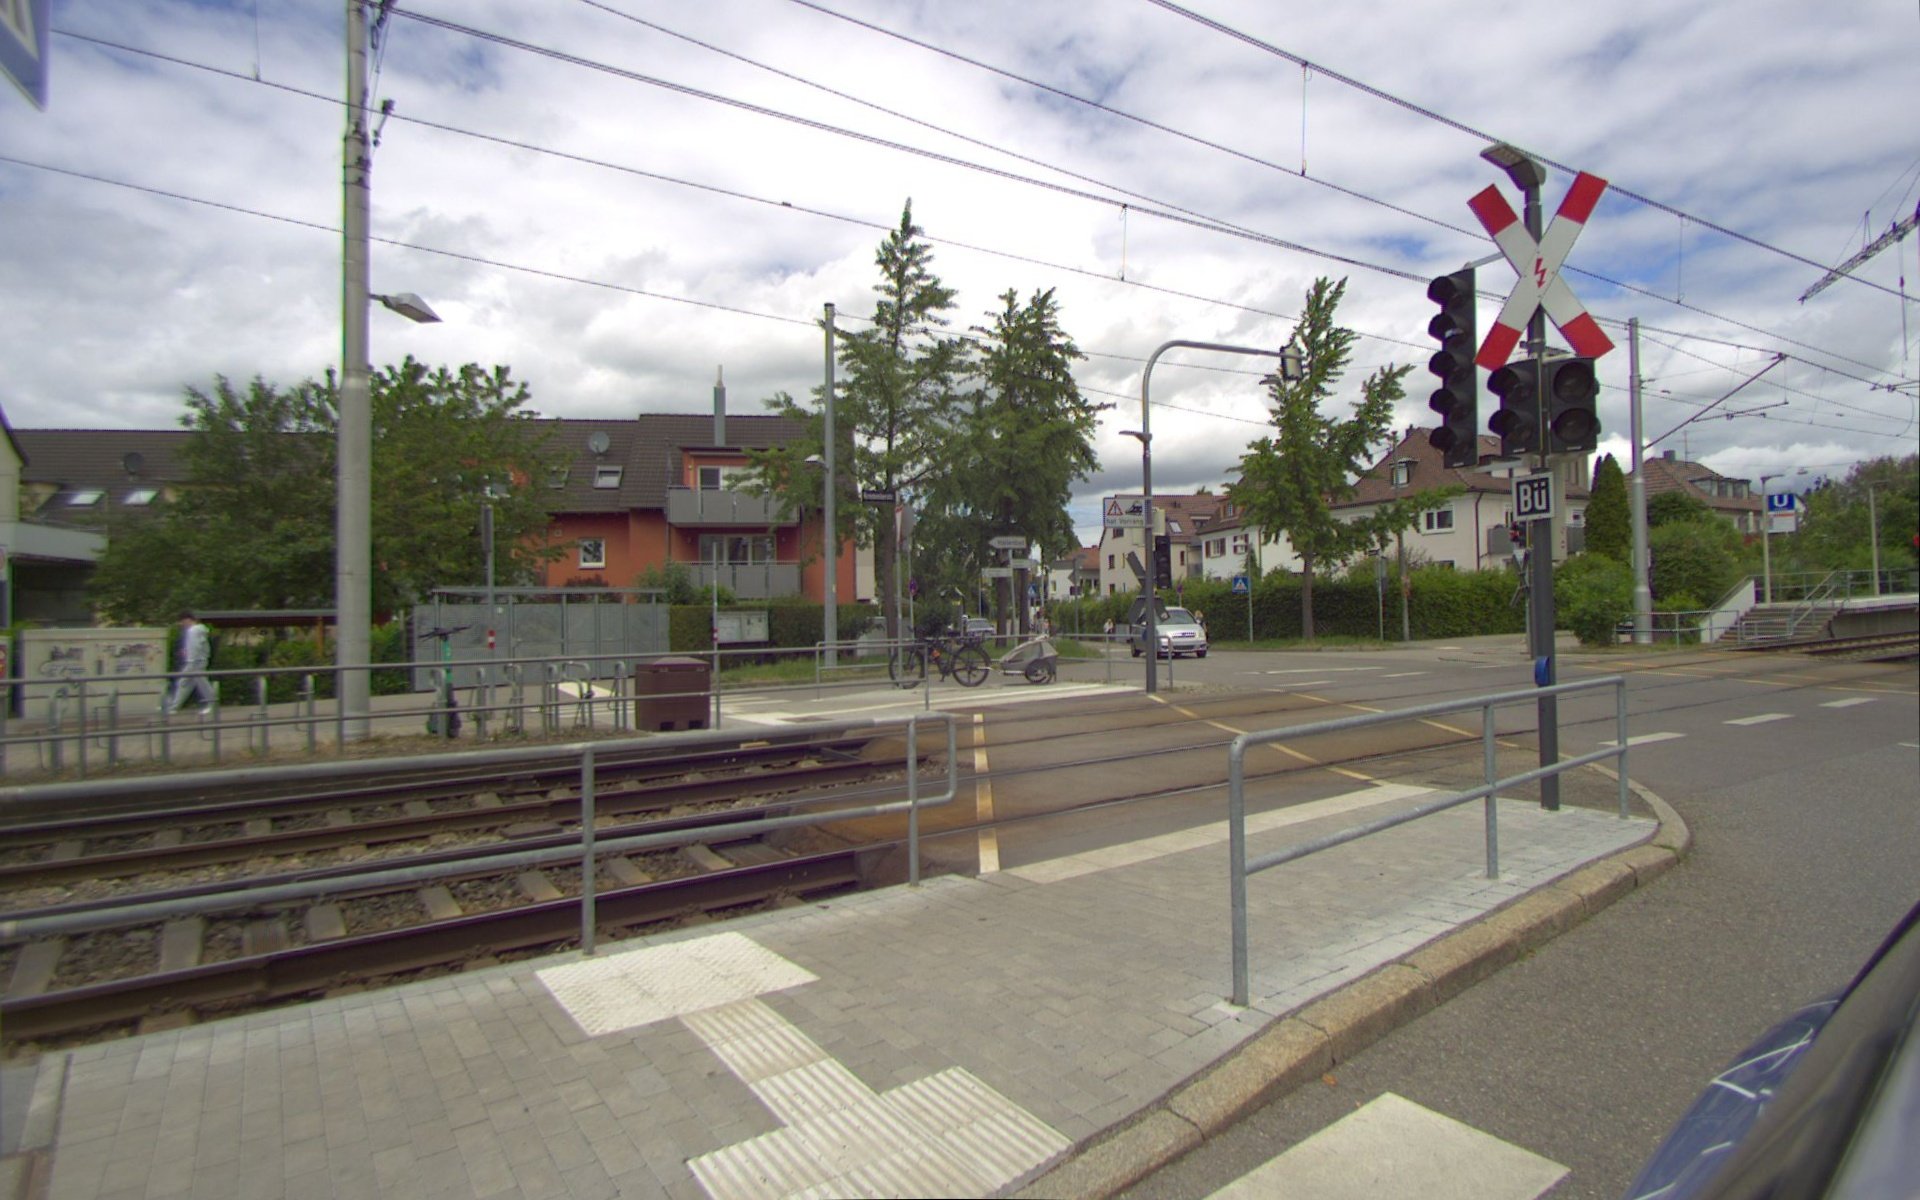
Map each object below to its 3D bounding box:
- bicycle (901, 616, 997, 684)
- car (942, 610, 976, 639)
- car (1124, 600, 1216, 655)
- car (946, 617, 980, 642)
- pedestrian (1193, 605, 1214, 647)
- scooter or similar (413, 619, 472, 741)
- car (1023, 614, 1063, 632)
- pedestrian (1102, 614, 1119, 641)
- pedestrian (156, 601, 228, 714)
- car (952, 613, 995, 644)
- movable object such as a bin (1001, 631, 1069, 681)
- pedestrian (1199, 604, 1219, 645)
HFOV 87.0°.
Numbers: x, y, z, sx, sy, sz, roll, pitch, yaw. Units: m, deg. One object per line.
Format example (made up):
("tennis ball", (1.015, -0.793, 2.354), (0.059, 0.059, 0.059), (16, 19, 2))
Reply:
("bicycle", (-0.207, 0.890, 18.352), (1.657, 1.170, 0.467), (-1, -1, -13))
("car", (-0.140, 1.849, 76.955), (1.960, 2.039, 5.571), (-3, -1, -6))
("car", (6.554, 0.844, 32.002), (1.692, 1.588, 3.930), (-1, -1, -5))
("car", (0.178, 1.858, 64.861), (1.678, 1.471, 3.839), (-2, -1, -7))
("pedestrian", (9.996, 1.063, 41.581), (0.592, 1.640, 0.672), (-5, -2, 25))
("scooter or similar", (-5.971, 0.883, 11.668), (0.480, 1.333, 1.051), (1, -2, -33))
("car", (8.635, 2.387, 105.682), (3.922, 1.750, 1.885), (-1, -1, -3))
("pedestrian", (8.860, 1.614, 59.487), (0.734, 1.550, 0.545), (-2, -2, -18))
("pedestrian", (-13.544, 0.993, 17.866), (0.620, 1.939, 0.822), (-1, -2, 30))
("car", (0.737, 1.647, 59.363), (1.815, 1.657, 4.471), (-2, -1, -8))
("movable object such as a bin", (1.342, 1.003, 18.194), (1.072, 0.835, 0.580), (-1, -1, -10))
("pedestrian", (10.398, 1.009, 42.272), (0.592, 1.640, 0.672), (-5, -2, 25))
